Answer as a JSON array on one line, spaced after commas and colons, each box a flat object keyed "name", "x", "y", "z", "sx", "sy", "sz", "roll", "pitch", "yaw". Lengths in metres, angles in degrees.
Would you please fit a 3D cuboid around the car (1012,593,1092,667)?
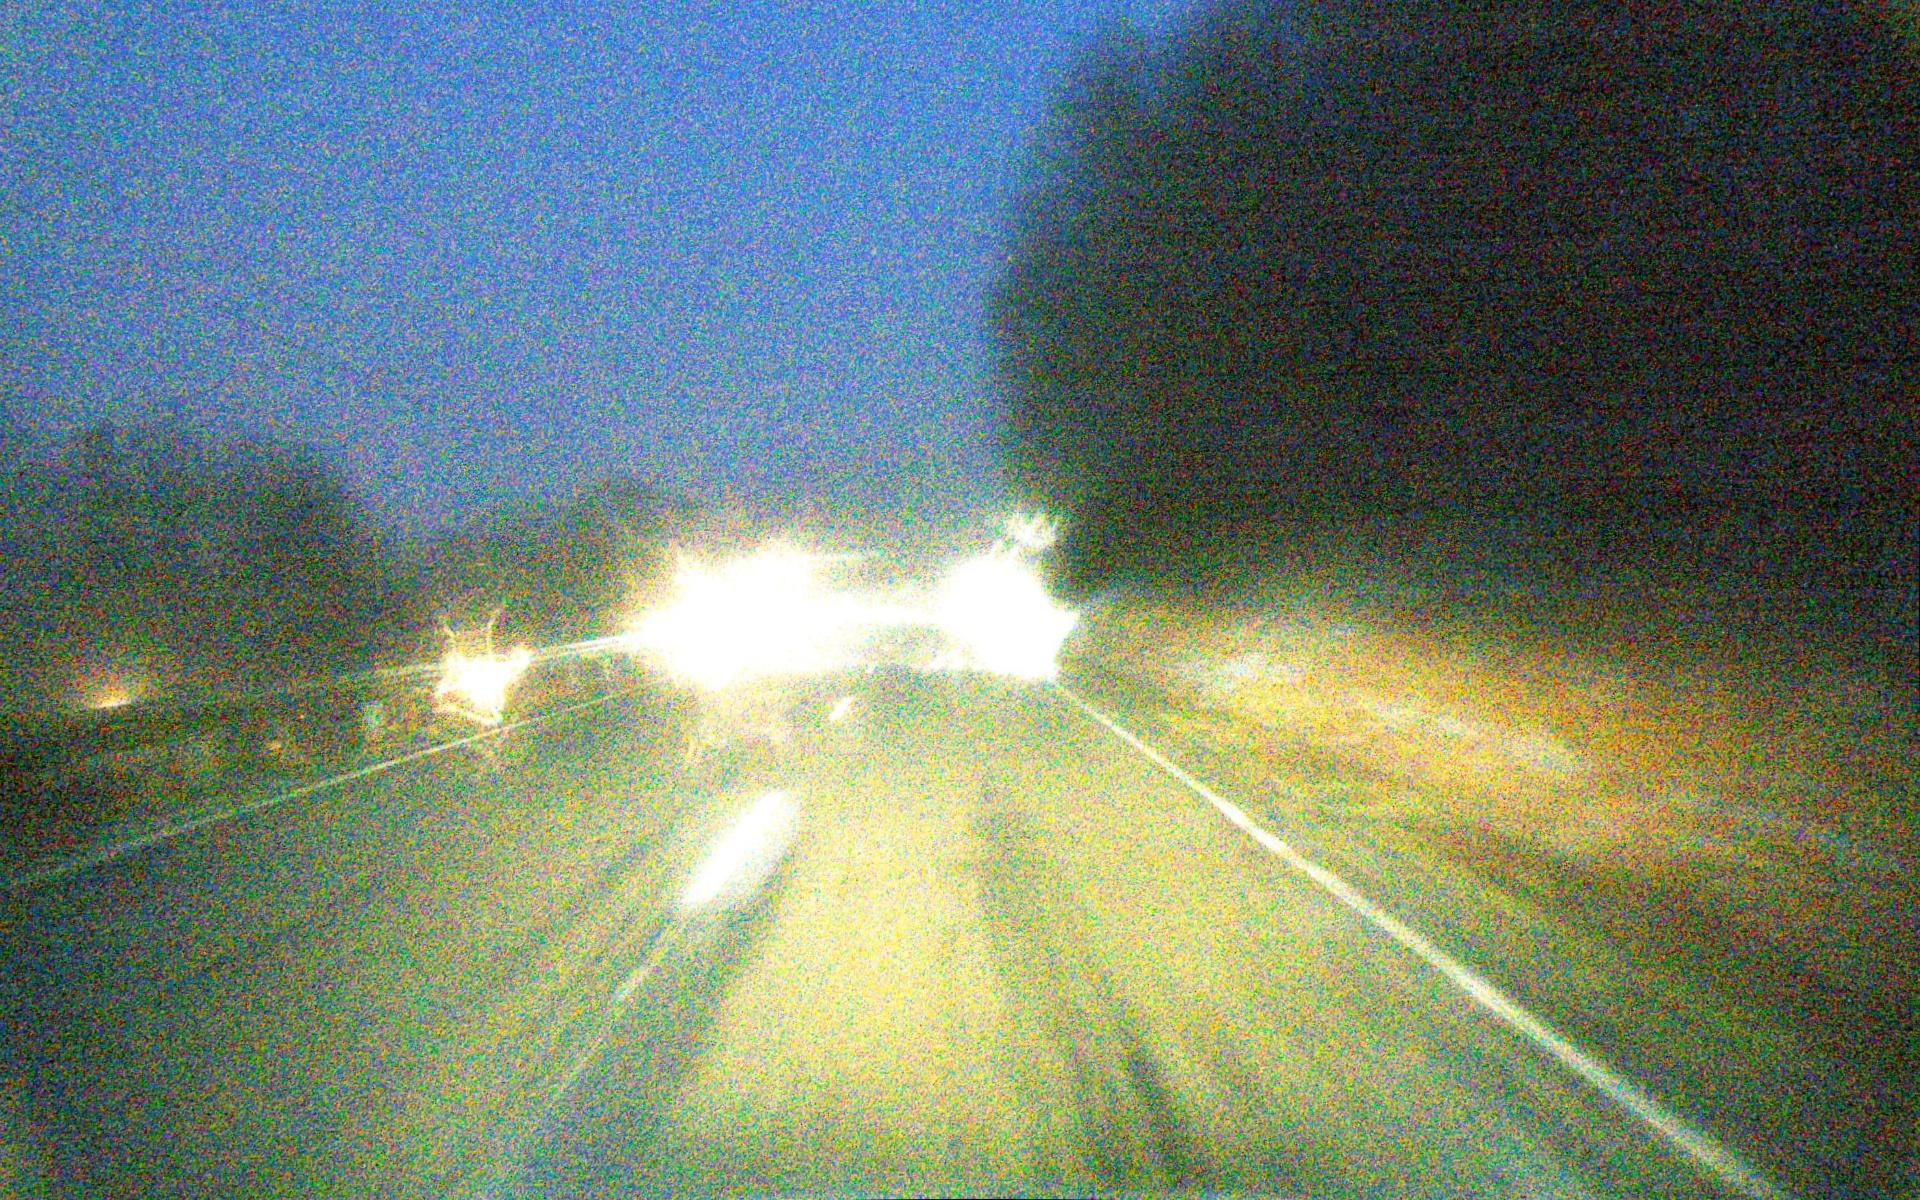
[{"name": "car", "x": 2.710, "y": 0.943, "z": 49.633, "sx": 2.152, "sy": 2.049, "sz": 4.206, "roll": 1, "pitch": -3, "yaw": 0}]
